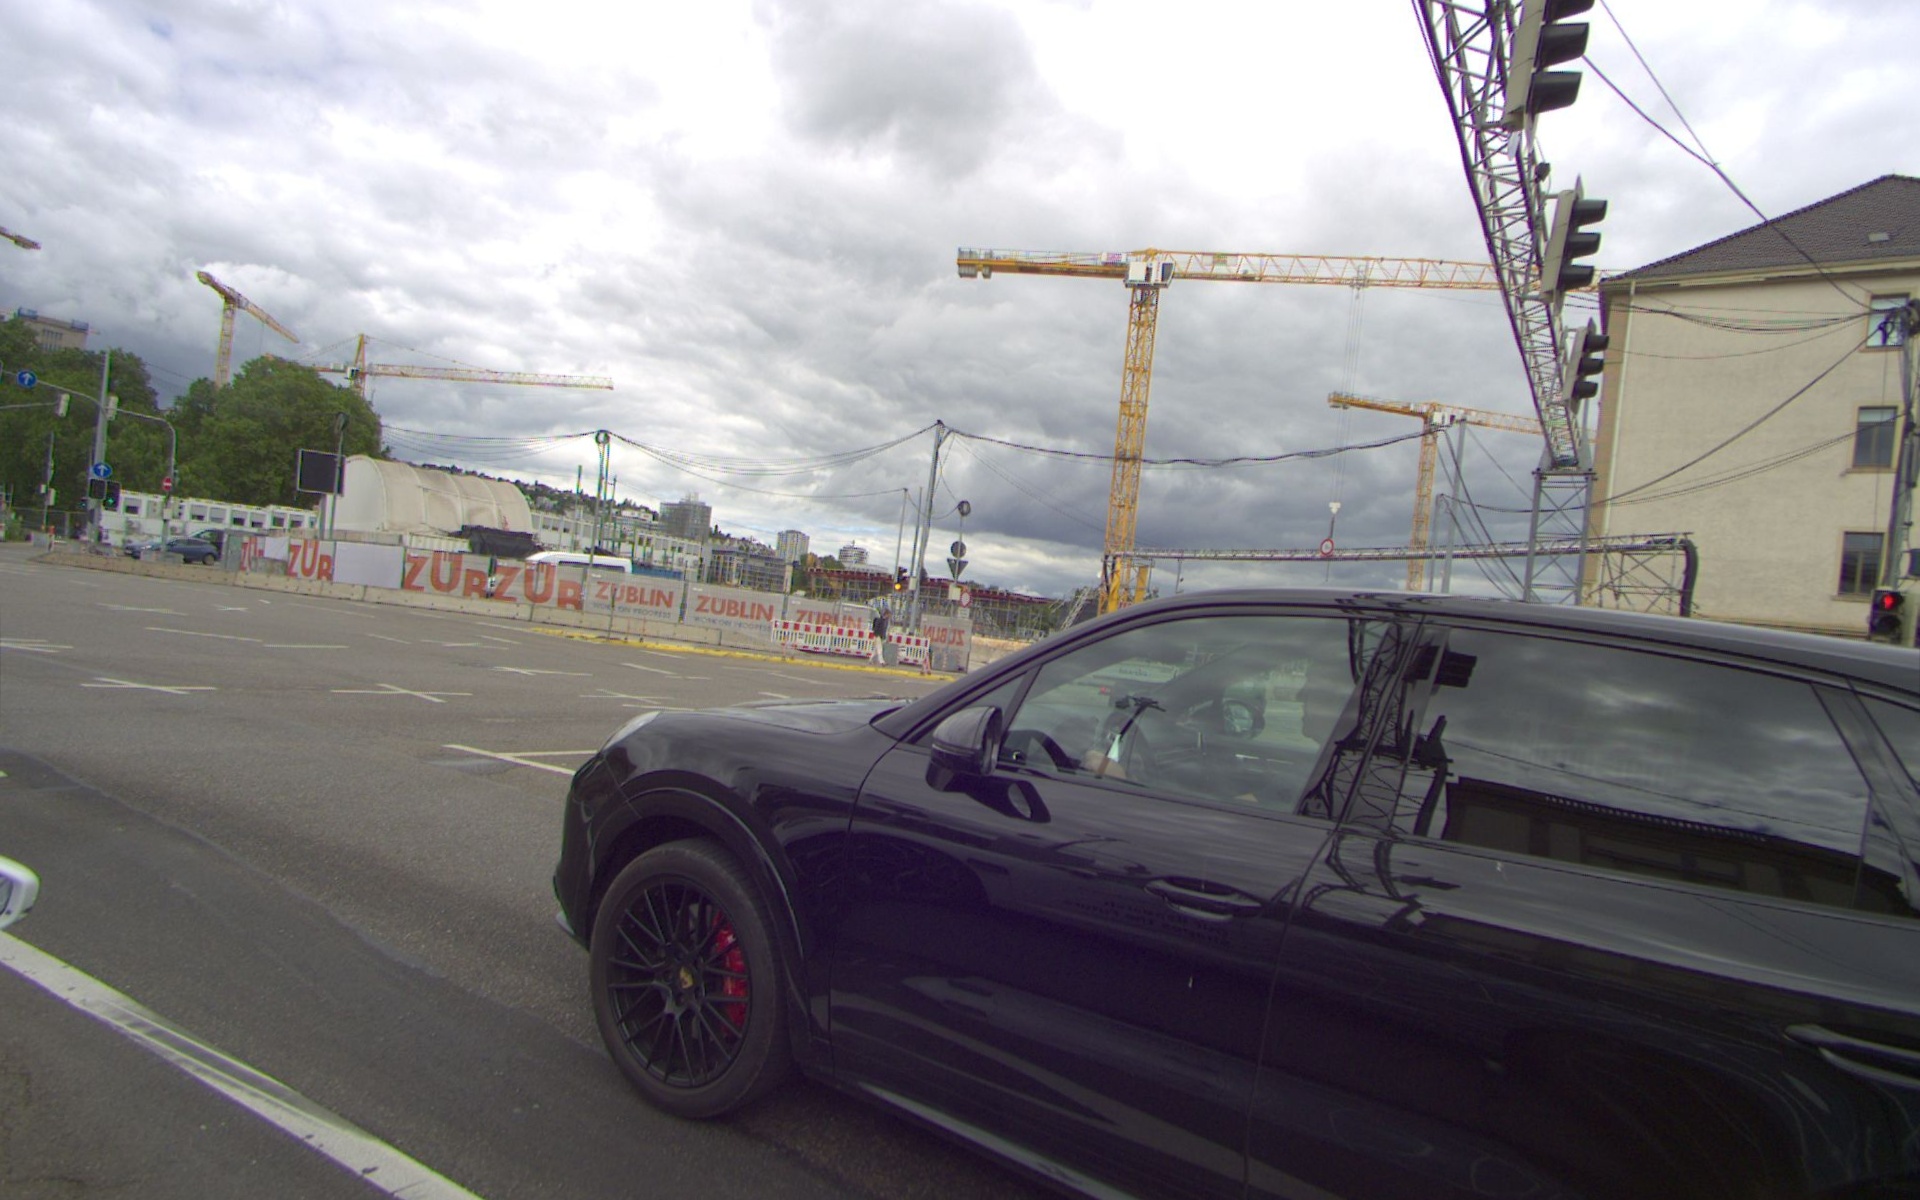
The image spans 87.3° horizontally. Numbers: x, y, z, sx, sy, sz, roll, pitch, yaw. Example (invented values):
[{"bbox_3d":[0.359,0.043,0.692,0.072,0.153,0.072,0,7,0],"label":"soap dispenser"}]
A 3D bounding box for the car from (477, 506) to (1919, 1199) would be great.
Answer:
[{"bbox_3d":[0.967,0.795,2.738,4.534,1.667,1.953,6,-1,33],"label":"car"}]

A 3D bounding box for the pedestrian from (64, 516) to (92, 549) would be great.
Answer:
[{"bbox_3d":[-46.352,-3.532,52.864,0.834,1.611,0.623,5,-1,13],"label":"pedestrian"}]

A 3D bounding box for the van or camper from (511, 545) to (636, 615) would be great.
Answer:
[{"bbox_3d":[-14.878,-0.757,38.782,3.964,2.255,1.980,6,0,-37],"label":"van or camper"}]

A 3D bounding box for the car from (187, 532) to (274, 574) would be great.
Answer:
[{"bbox_3d":[-46.897,-2.994,64.772,1.962,2.037,4.005,7,-2,14],"label":"car"}]

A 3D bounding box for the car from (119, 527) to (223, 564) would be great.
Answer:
[{"bbox_3d":[-42.801,-2.932,54.681,1.753,1.452,4.071,6,-2,16],"label":"car"}]
